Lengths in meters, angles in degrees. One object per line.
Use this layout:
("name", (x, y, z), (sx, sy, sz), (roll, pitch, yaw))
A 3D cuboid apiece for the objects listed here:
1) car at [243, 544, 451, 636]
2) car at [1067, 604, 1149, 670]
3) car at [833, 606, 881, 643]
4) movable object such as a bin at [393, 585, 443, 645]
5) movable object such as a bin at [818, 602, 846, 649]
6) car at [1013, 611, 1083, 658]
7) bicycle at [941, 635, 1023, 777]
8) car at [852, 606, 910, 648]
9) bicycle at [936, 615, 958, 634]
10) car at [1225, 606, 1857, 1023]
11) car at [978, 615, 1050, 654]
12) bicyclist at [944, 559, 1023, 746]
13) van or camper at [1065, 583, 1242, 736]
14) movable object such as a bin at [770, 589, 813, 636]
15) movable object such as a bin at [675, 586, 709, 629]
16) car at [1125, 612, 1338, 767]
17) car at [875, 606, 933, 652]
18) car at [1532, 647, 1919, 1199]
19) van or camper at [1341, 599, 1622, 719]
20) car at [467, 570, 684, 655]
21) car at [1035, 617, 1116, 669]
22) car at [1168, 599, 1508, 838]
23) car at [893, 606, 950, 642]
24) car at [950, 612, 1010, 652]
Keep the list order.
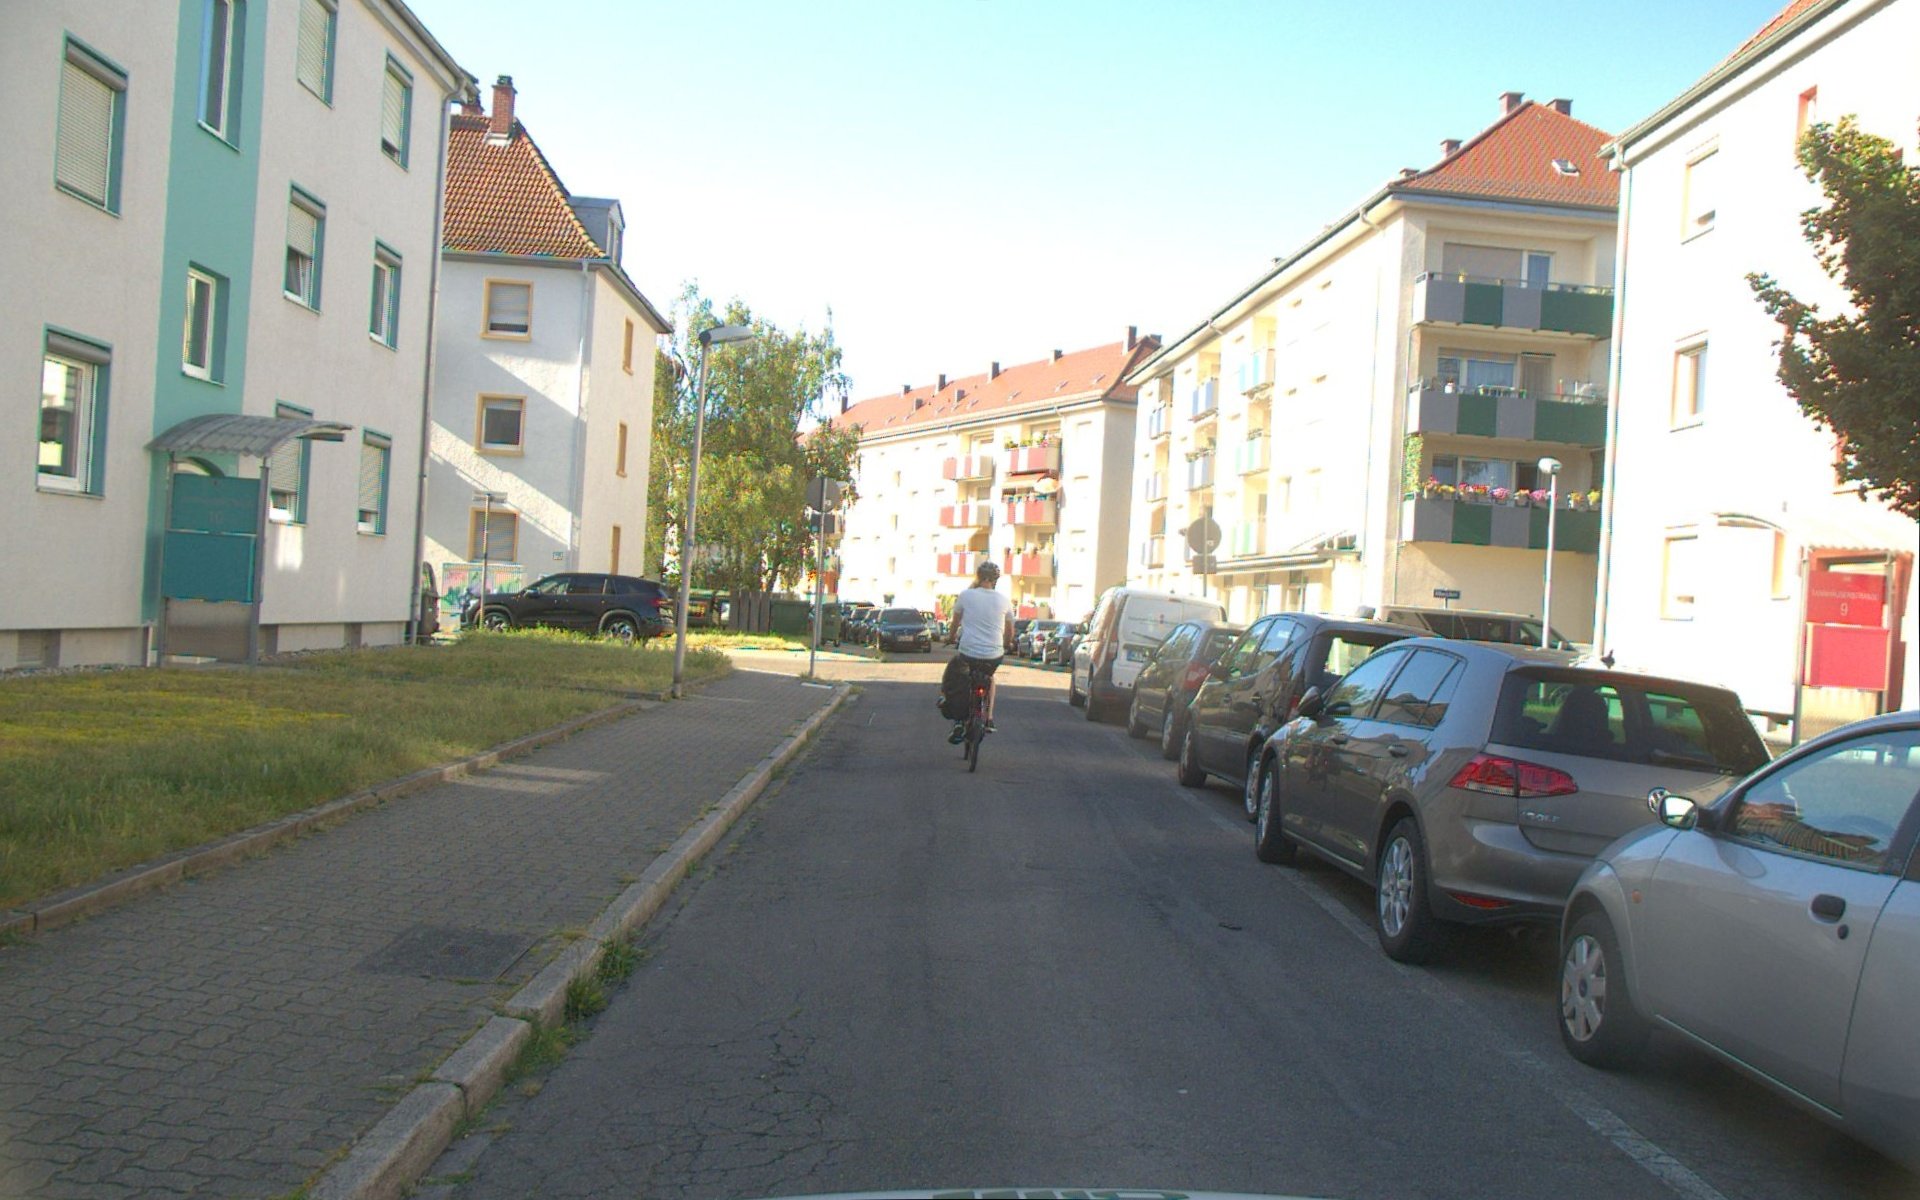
("car", (-13.612, -0.205, 36.892), (3.910, 1.820, 1.719), (2, -2, -1))
("car", (4.314, 1.064, 48.740), (1.713, 1.856, 4.126), (1, 0, -5))
("car", (-4.171, 0.966, 66.517), (1.527, 1.468, 3.959), (0, 0, -9))
("movable object such as a bin", (-9.468, 0.258, 28.921), (0.600, 1.009, 0.714), (4, 0, -3))
("movable object such as a bin", (-4.042, 0.798, 52.353), (0.760, 1.417, 1.416), (3, -1, -3))
("car", (3.169, 1.228, 60.492), (1.646, 1.472, 4.716), (4, 0, -7))
("bicycle", (0.180, 0.918, 14.958), (0.614, 1.134, 1.815), (3, 0, -2))
("car", (-2.937, 0.967, 60.644), (1.647, 1.468, 4.270), (0, 0, -9))
("bicycle", (-0.772, 1.386, 94.603), (0.609, 0.995, 1.883), (0, 2, -22))
("car", (2.706, 0.896, 8.738), (1.597, 1.475, 3.949), (6, 1, -4))
("car", (2.120, 1.366, 66.352), (1.665, 1.457, 4.670), (2, -1, -14))
("bicyclist", (0.199, 0.464, 14.958), (0.584, 1.606, 0.906), (3, -1, -2))
("van or camper", (2.613, 0.761, 23.456), (1.756, 1.777, 4.734), (6, 0, -1))
("movable object such as a bin", (-5.379, 0.400, 52.763), (1.195, 1.404, 0.767), (4, -1, 1))
("movable object such as a bin", (-9.348, 0.267, 57.778), (1.039, 1.460, 1.002), (1, 0, -4))
("car", (2.895, 0.909, 18.371), (1.541, 1.442, 3.786), (2, 0, -3))
("car", (-1.900, 0.933, 54.830), (1.645, 1.478, 4.614), (0, 0, -6))
("car", (3.097, 0.973, 4.704), (1.596, 1.418, 3.488), (6, 0, -1))
("van or camper", (10.594, 1.176, 33.852), (5.020, 2.048, 2.000), (3, 1, -1))
("car", (-8.552, 0.301, 37.051), (4.397, 1.693, 1.719), (2, -2, -1))
("car", (3.755, 1.392, 54.554), (1.647, 1.431, 4.536), (4, 0, -9))
("car", (2.897, 0.838, 13.448), (1.586, 1.577, 3.607), (4, 0, -5))
("car", (-2.029, 1.220, 85.308), (1.739, 1.664, 4.018), (1, 1, -20))
("car", (0.845, 1.389, 72.943), (1.665, 1.685, 4.375), (2, -1, -13))
